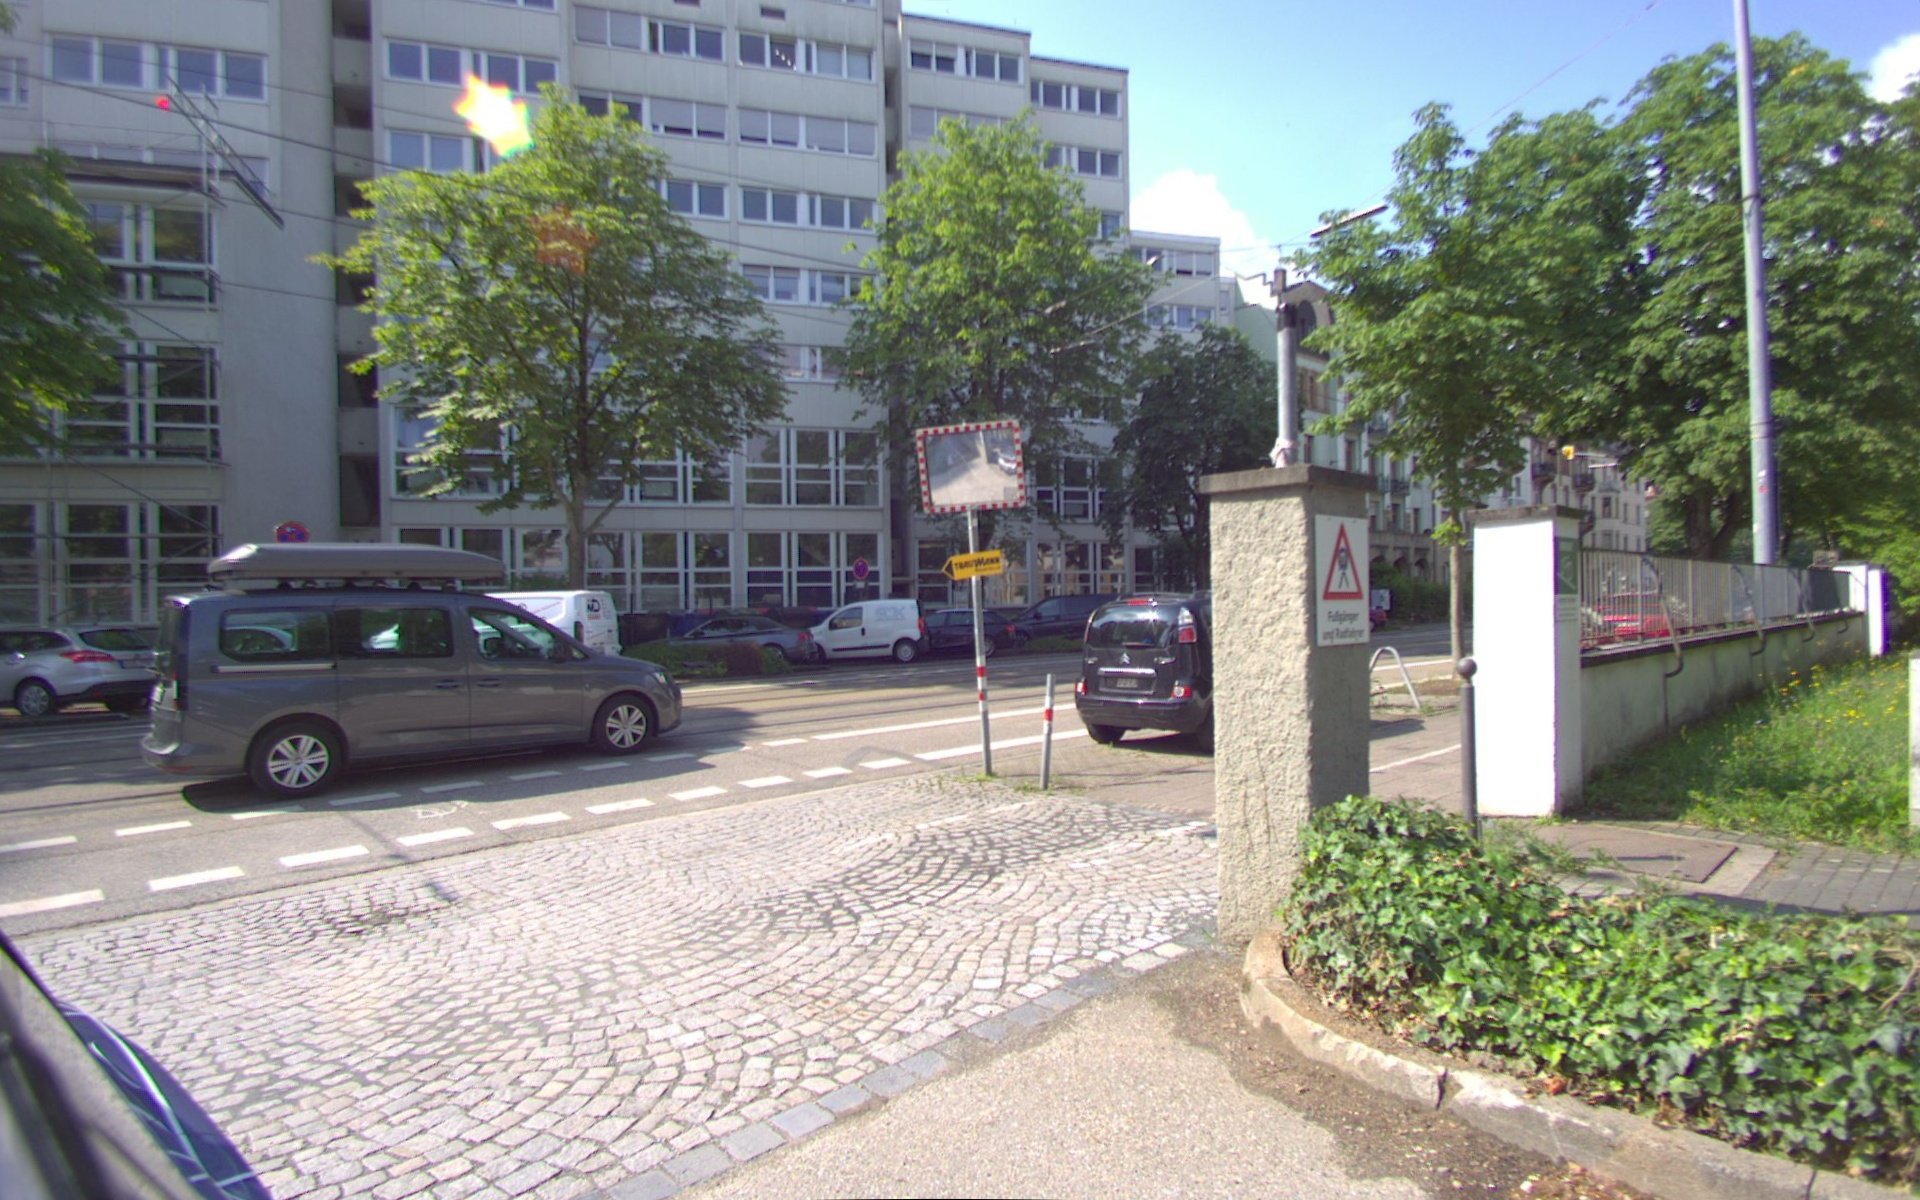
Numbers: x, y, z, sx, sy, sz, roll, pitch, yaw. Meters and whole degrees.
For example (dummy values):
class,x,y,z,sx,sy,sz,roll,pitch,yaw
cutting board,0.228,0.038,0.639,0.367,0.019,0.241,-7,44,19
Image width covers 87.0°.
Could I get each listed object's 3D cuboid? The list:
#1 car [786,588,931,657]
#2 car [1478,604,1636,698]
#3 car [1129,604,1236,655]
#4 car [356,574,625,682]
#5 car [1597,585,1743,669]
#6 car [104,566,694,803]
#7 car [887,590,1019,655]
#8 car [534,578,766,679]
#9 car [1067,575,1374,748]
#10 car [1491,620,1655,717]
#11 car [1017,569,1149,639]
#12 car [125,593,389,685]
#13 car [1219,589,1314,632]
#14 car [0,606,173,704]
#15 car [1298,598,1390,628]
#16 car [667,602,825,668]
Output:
class,x,y,z,sx,sy,sz,roll,pitch,yaw
car,-2.676,0.577,27.324,3.707,1.725,1.883,-1,2,2
car,11.269,0.893,19.024,3.230,1.497,1.674,-2,0,-43
car,8.043,1.050,36.811,3.612,1.538,1.580,2,4,8
car,-9.357,0.498,20.395,4.585,1.926,1.929,1,3,6
car,16.645,0.537,23.667,3.939,1.718,1.969,-2,2,-42
car,-5.281,0.569,10.031,4.765,1.787,1.949,-2,2,-44
car,-0.177,0.629,29.434,3.707,1.725,1.883,-1,2,2
car,-6.746,0.570,22.299,4.517,2.012,1.900,1,2,6
car,3.002,0.621,11.318,3.530,1.624,1.681,1,-3,-44
car,11.407,1.279,18.765,3.530,1.624,1.681,4,-5,-43
car,4.059,0.100,33.999,4.147,2.096,1.883,2,4,2
car,-12.760,0.707,18.491,3.735,1.487,1.723,-2,-2,4
car,13.088,0.439,43.409,3.563,1.589,1.630,-4,0,8
car,-15.524,0.859,16.276,4.399,1.437,1.740,-1,1,0
car,17.915,0.598,47.349,3.743,1.316,1.634,0,2,9
car,-5.259,0.845,25.250,3.585,1.512,1.763,-1,1,-1
